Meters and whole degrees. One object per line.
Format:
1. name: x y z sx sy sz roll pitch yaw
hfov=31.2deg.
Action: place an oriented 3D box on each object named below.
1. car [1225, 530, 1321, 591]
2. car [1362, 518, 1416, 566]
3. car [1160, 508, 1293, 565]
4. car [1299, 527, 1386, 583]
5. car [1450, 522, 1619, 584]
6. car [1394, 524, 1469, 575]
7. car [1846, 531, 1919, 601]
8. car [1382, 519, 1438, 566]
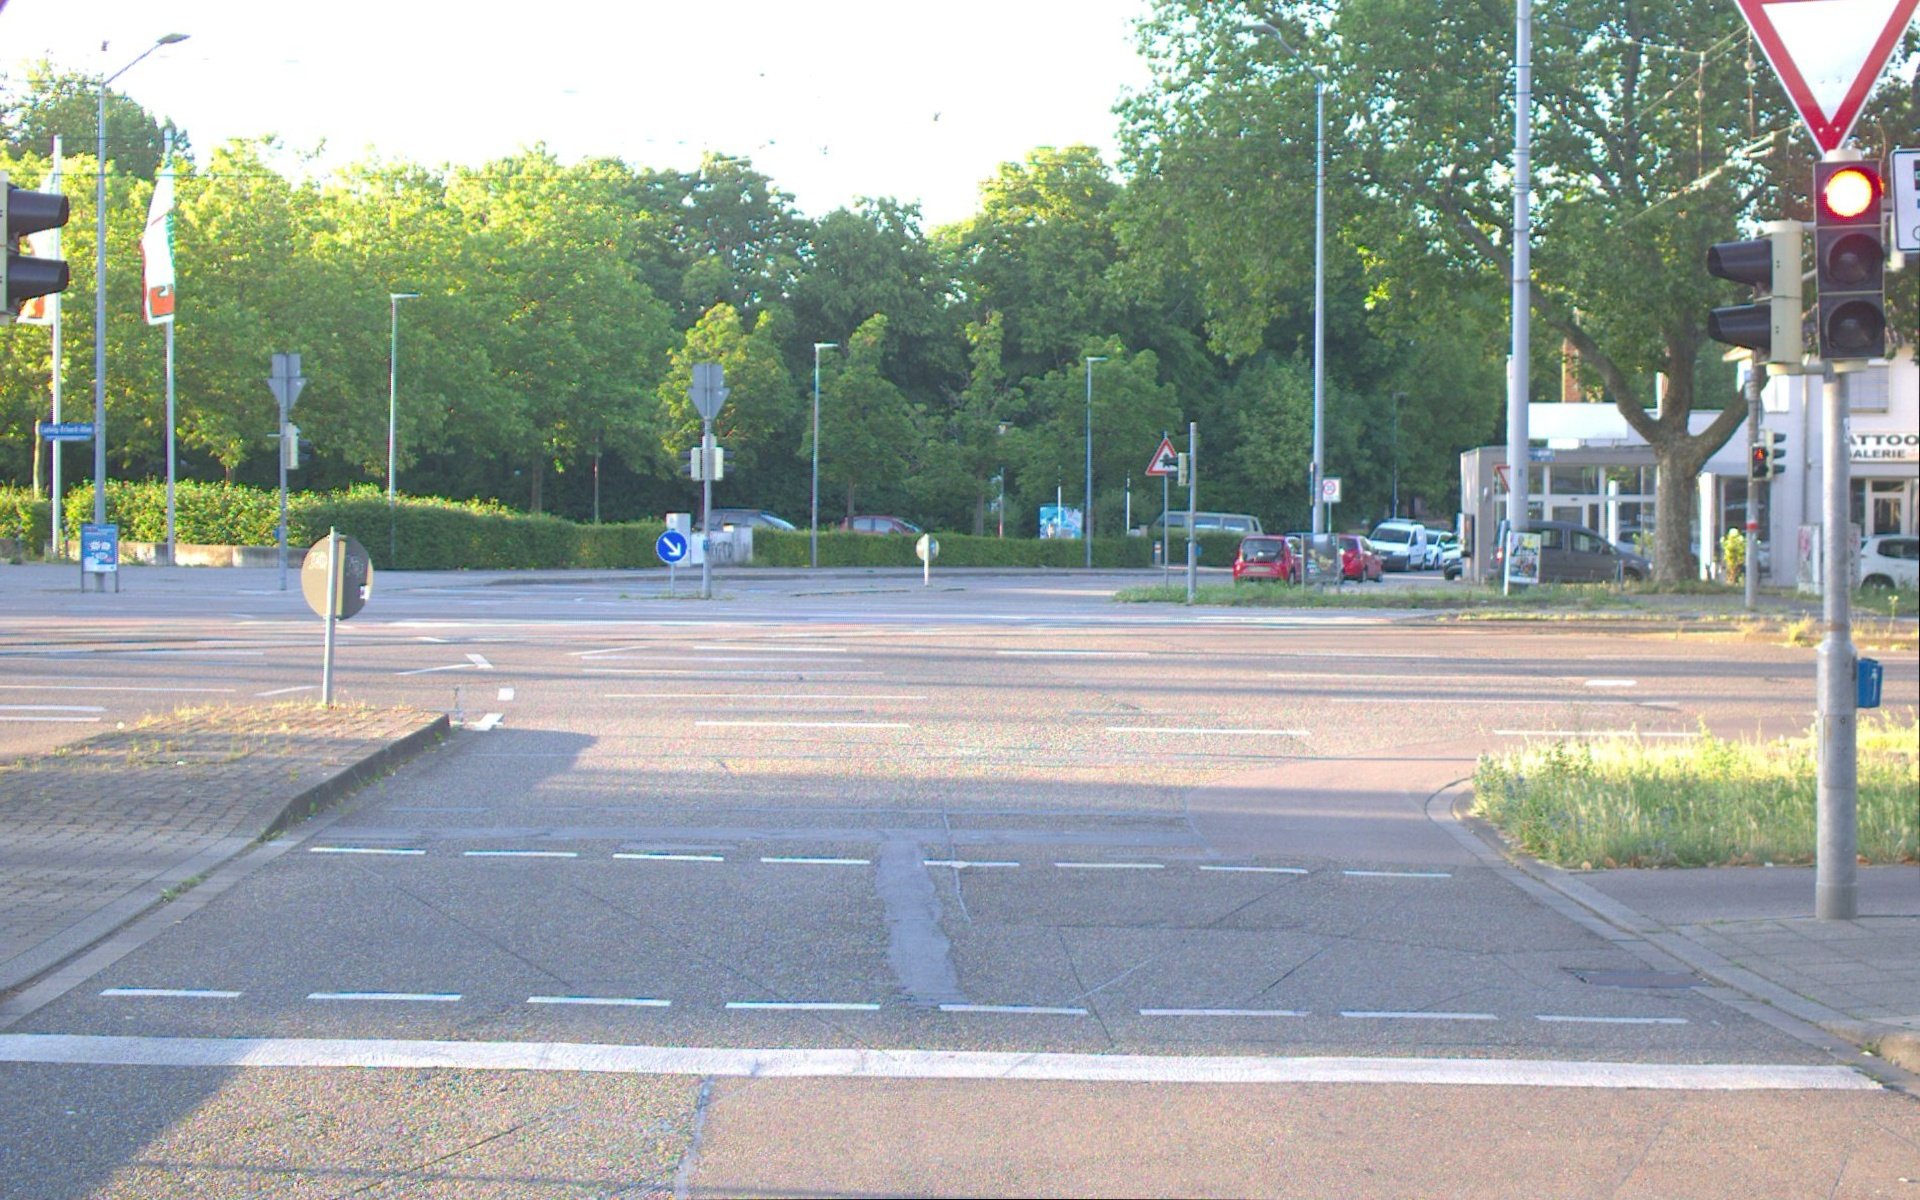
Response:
1. car: 8.739 -1.096 95.679 1.995 1.656 3.997 1 0 15
2. car: 16.383 -2.193 131.182 1.864 1.788 3.998 1 0 10
3. car: 9.740 -2.323 125.866 4.774 1.999 2.000 1 0 2
4. car: 11.517 -1.336 103.366 1.995 1.656 3.997 1 0 15
5. car: 14.875 -1.209 89.161 4.220 1.547 1.999 1 0 7
6. car: 15.881 -1.676 115.591 1.995 1.656 3.997 1 0 15
7. car: 20.609 -0.704 72.197 3.741 1.435 1.663 1 0 9
8. car: 17.838 -2.256 136.077 1.864 1.788 3.998 1 0 12
